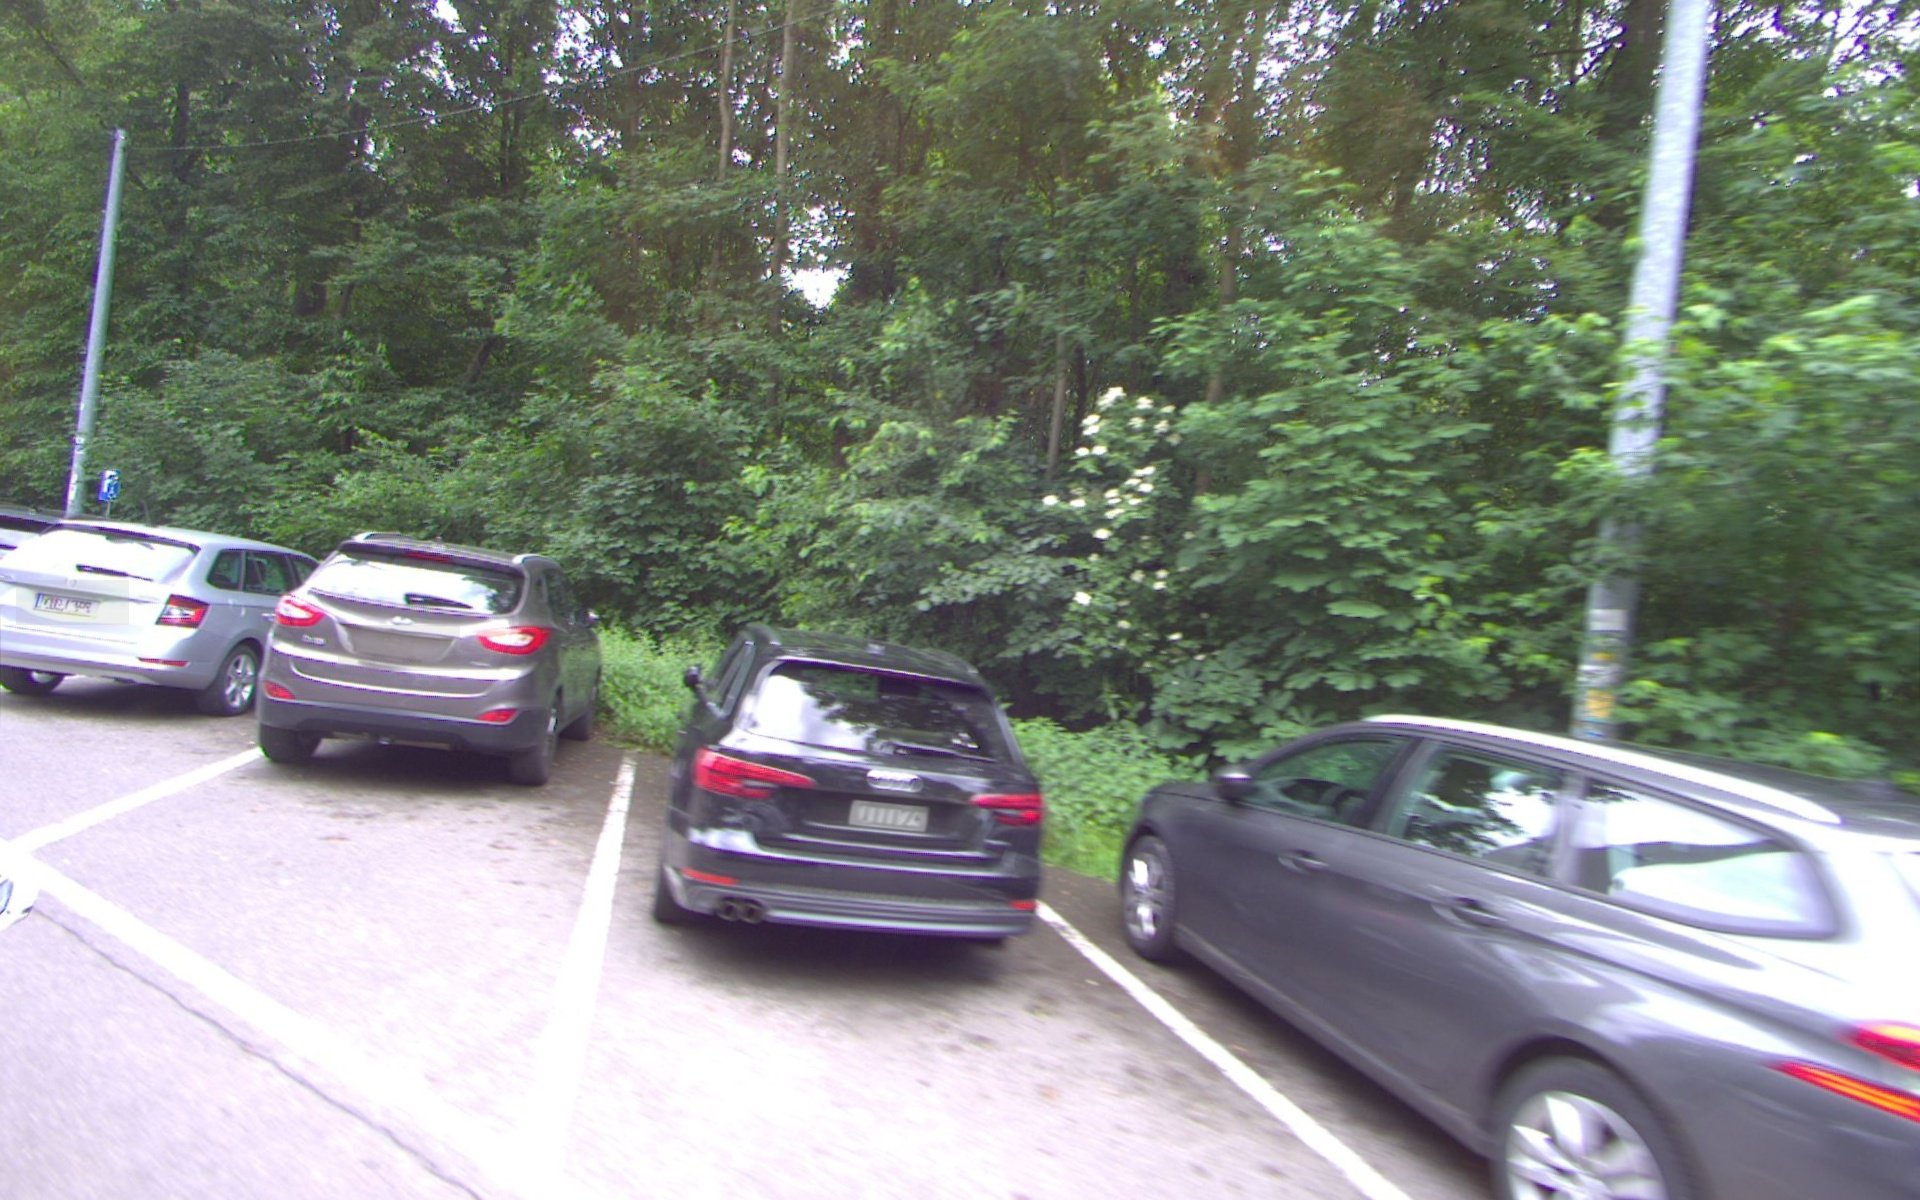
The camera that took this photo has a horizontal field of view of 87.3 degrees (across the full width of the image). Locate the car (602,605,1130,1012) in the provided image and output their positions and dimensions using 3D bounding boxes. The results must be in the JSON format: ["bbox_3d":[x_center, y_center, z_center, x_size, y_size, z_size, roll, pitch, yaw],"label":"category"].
[{"bbox_3d":[-0.880,0.885,5.991,1.936,1.393,4.250,9,-2,-16],"label":"car"}]

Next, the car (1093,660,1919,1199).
[{"bbox_3d":[2.207,1.205,3.950,1.777,1.474,4.177,8,-2,-14],"label":"car"}]

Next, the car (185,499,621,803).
[{"bbox_3d":[-4.124,0.357,8.357,1.935,1.655,4.253,8,-2,-14],"label":"car"}]

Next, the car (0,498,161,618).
[{"bbox_3d":[-12.944,-0.642,13.380,1.870,1.479,4.196,9,-2,-13],"label":"car"}]

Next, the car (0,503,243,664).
[{"bbox_3d":[-10.008,-0.255,11.154,1.881,1.438,3.990,9,-2,-14],"label":"car"}]

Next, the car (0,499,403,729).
[{"bbox_3d":[-6.931,0.087,9.230,1.805,1.484,3.994,9,-2,-10],"label":"car"}]
